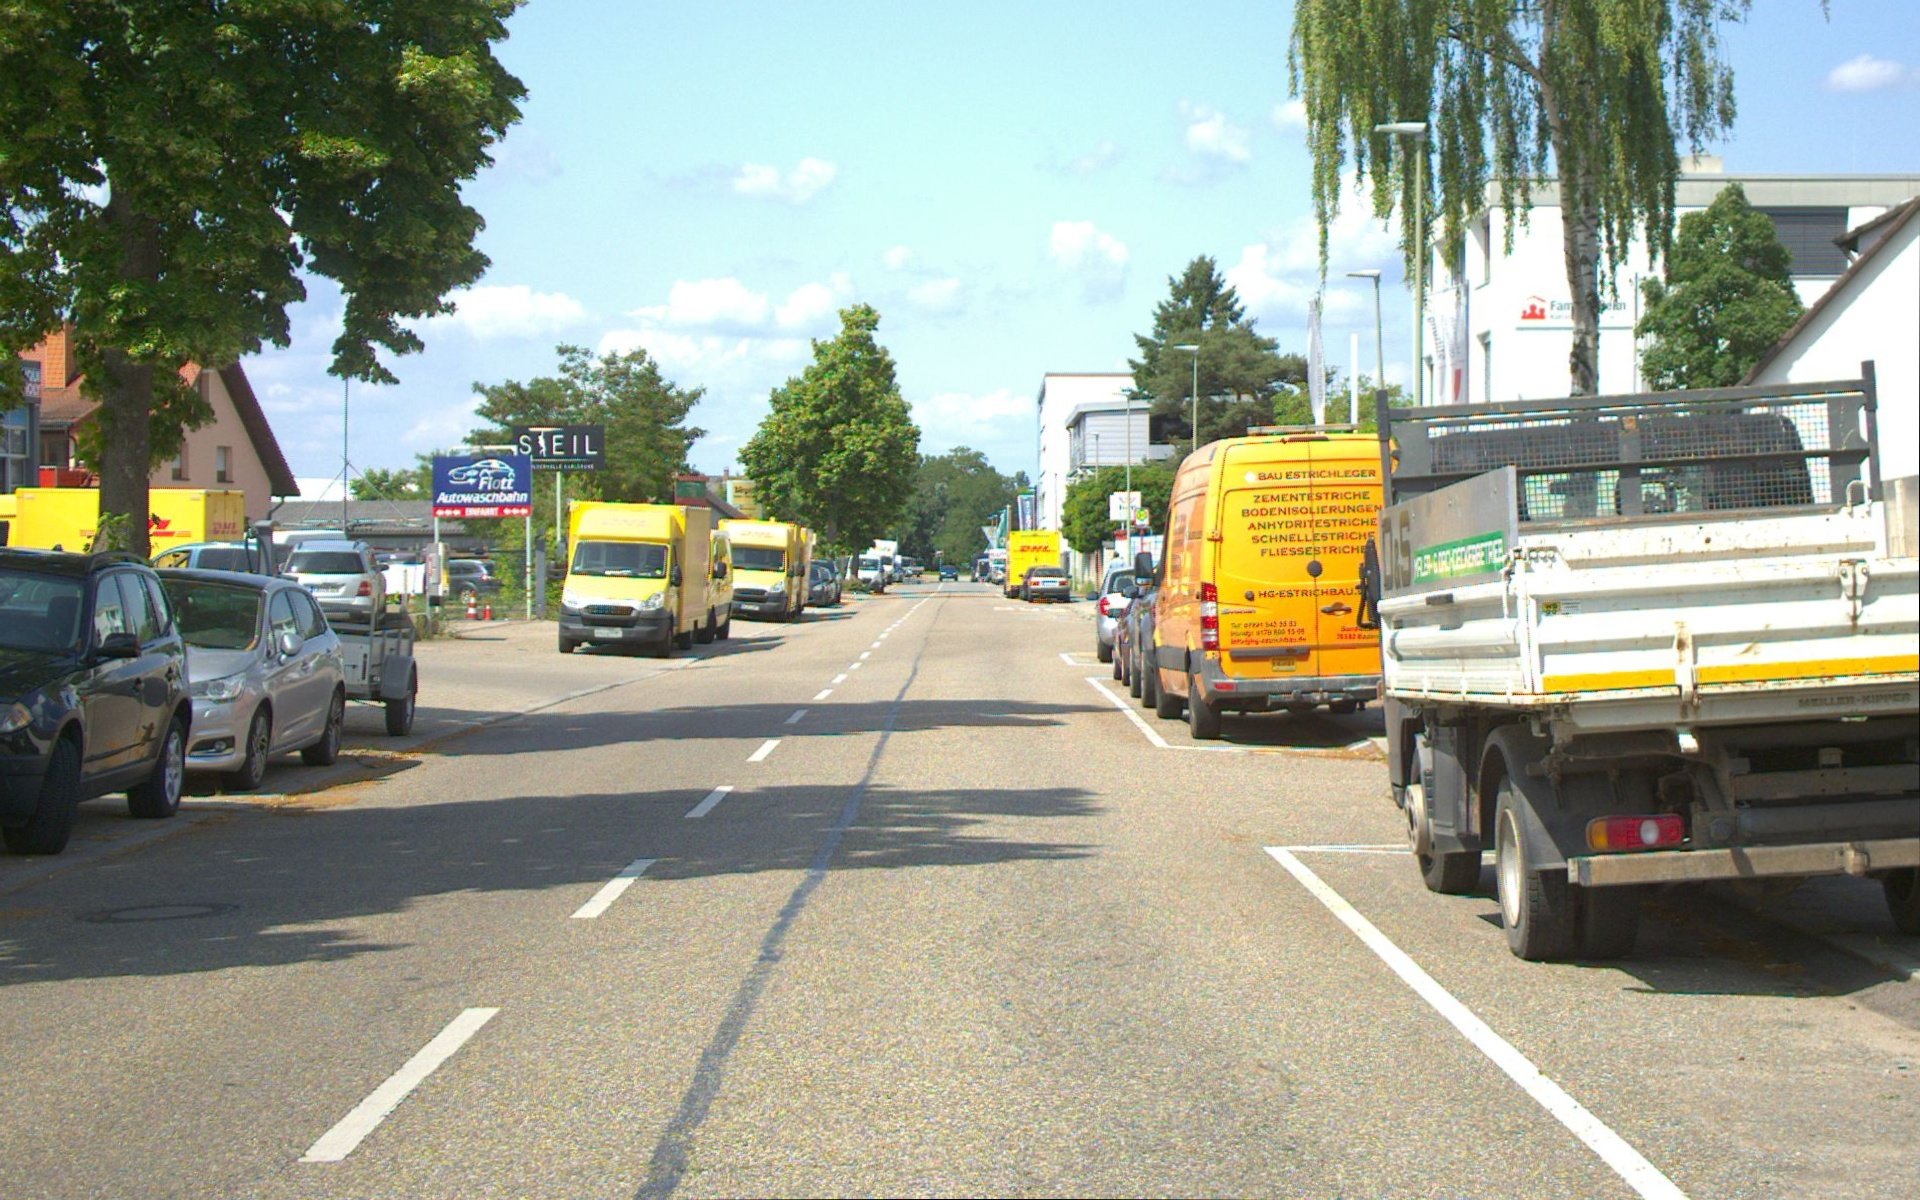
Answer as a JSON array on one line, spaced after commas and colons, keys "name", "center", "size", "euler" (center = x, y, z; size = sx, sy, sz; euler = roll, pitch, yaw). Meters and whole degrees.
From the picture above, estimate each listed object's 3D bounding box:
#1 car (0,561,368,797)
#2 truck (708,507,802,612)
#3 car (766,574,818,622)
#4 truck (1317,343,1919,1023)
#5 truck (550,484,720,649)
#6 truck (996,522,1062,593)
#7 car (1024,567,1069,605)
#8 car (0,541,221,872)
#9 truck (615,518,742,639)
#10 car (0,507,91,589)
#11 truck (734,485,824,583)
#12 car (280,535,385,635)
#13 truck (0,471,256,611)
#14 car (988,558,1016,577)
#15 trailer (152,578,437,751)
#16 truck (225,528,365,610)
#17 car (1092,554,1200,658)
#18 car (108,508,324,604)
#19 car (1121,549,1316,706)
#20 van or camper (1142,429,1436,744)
[{"name": "car", "center": [-5.784, 0.516, 25.672], "size": [1.833, 1.523, 4.237], "euler": [2, 1, 2]}, {"name": "truck", "center": [-5.780, -1.117, 97.858], "size": [2.269, 2.845, 7.175], "euler": [1, 0, -1]}, {"name": "car", "center": [-6.132, -0.077, 125.649], "size": [1.724, 1.598, 4.414], "euler": [3, 1, -2]}, {"name": "truck", "center": [3.145, 0.223, 14.906], "size": [2.522, 2.291, 5.895], "euler": [-3, 1, 1]}, {"name": "truck", "center": [-5.981, -0.649, 64.189], "size": [2.220, 2.847, 7.069], "euler": [2, 1, 2]}, {"name": "truck", "center": [2.929, -1.835, 147.879], "size": [2.474, 2.930, 7.189], "euler": [1, 1, -1]}, {"name": "car", "center": [3.413, -0.578, 136.344], "size": [1.652, 1.382, 4.423], "euler": [1, 1, 0]}, {"name": "car", "center": [-5.718, 0.521, 20.395], "size": [1.693, 1.694, 4.400], "euler": [2, 1, 0]}, {"name": "truck", "center": [-5.794, -0.472, 71.526], "size": [1.993, 2.405, 6.064], "euler": [0, 1, 1]}, {"name": "car", "center": [-20.695, -1.105, 73.234], "size": [3.844, 1.725, 1.731], "euler": [0, 1, 11]}, {"name": "truck", "center": [-5.618, -2.050, 107.648], "size": [2.316, 2.853, 7.105], "euler": [2, 1, 0]}, {"name": "car", "center": [-11.990, -0.324, 65.881], "size": [1.828, 1.699, 4.709], "euler": [0, 3, -8]}, {"name": "truck", "center": [-19.086, -1.332, 75.454], "size": [6.602, 2.840, 2.527], "euler": [2, 1, 13]}, {"name": "car", "center": [2.937, -2.302, 240.480], "size": [1.928, 1.306, 4.000], "euler": [0, 1, 0]}, {"name": "trailer", "center": [-5.848, 0.522, 30.706], "size": [1.761, 1.285, 4.508], "euler": [3, 1, -2]}, {"name": "truck", "center": [-20.675, -0.979, 107.148], "size": [2.112, 2.479, 5.717], "euler": [0, 1, 14]}, {"name": "car", "center": [2.978, 0.069, 55.551], "size": [1.610, 1.575, 4.000], "euler": [1, 1, 2]}, {"name": "car", "center": [-15.452, -0.920, 71.453], "size": [3.930, 1.804, 1.854], "euler": [2, 1, 10]}, {"name": "car", "center": [2.779, 0.252, 37.783], "size": [1.832, 1.634, 4.240], "euler": [0, 1, 0]}, {"name": "van or camper", "center": [2.926, -0.157, 31.831], "size": [1.993, 2.655, 5.770], "euler": [0, 1, -2]}]
